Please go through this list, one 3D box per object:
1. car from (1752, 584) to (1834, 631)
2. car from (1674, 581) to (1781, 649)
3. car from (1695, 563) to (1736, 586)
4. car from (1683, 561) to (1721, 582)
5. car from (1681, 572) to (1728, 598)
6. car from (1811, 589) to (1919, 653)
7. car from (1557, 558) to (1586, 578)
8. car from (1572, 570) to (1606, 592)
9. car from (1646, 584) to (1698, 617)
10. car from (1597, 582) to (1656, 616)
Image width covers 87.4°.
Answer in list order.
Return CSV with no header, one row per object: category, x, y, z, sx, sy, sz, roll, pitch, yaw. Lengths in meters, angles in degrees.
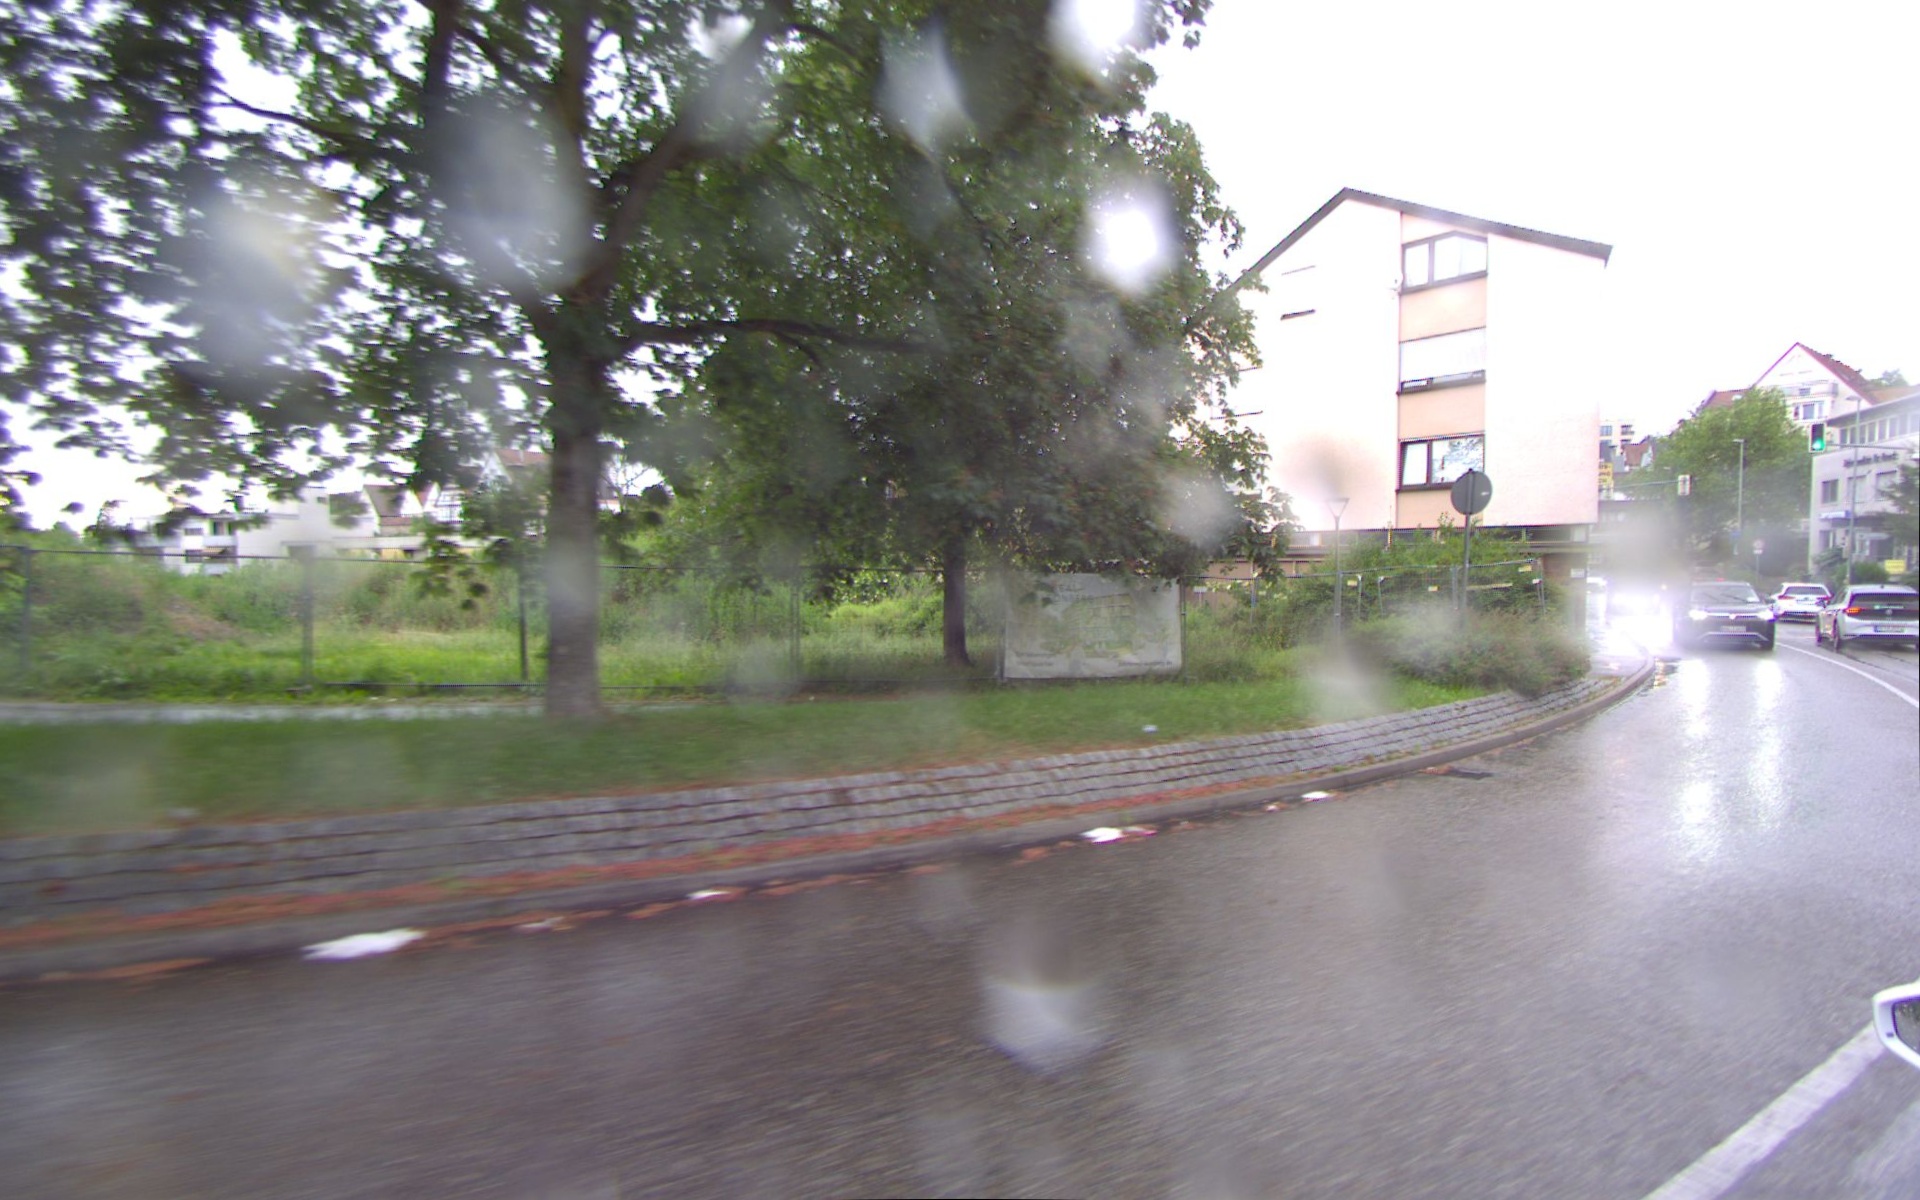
car,31.047,0.298,37.553,1.703,1.611,4.175,3,1,31
car,19.807,0.347,26.074,1.868,1.617,4.342,-2,0,33
car,57.389,-1.933,76.314,1.823,1.663,3.534,0,2,26
car,60.334,-2.344,81.712,1.823,1.663,3.866,0,2,26
car,47.569,-0.945,64.233,1.864,1.612,3.682,0,1,28
car,22.769,0.464,25.166,1.793,1.378,3.976,2,3,35
car,50.476,-2.681,82.997,1.758,1.582,4.329,0,3,28
car,41.648,-1.278,66.610,1.665,1.391,4.105,0,2,29
car,40.262,-0.004,56.853,1.757,1.584,4.395,2,4,28
car,29.339,-0.065,44.294,1.743,1.421,3.913,0,1,27
